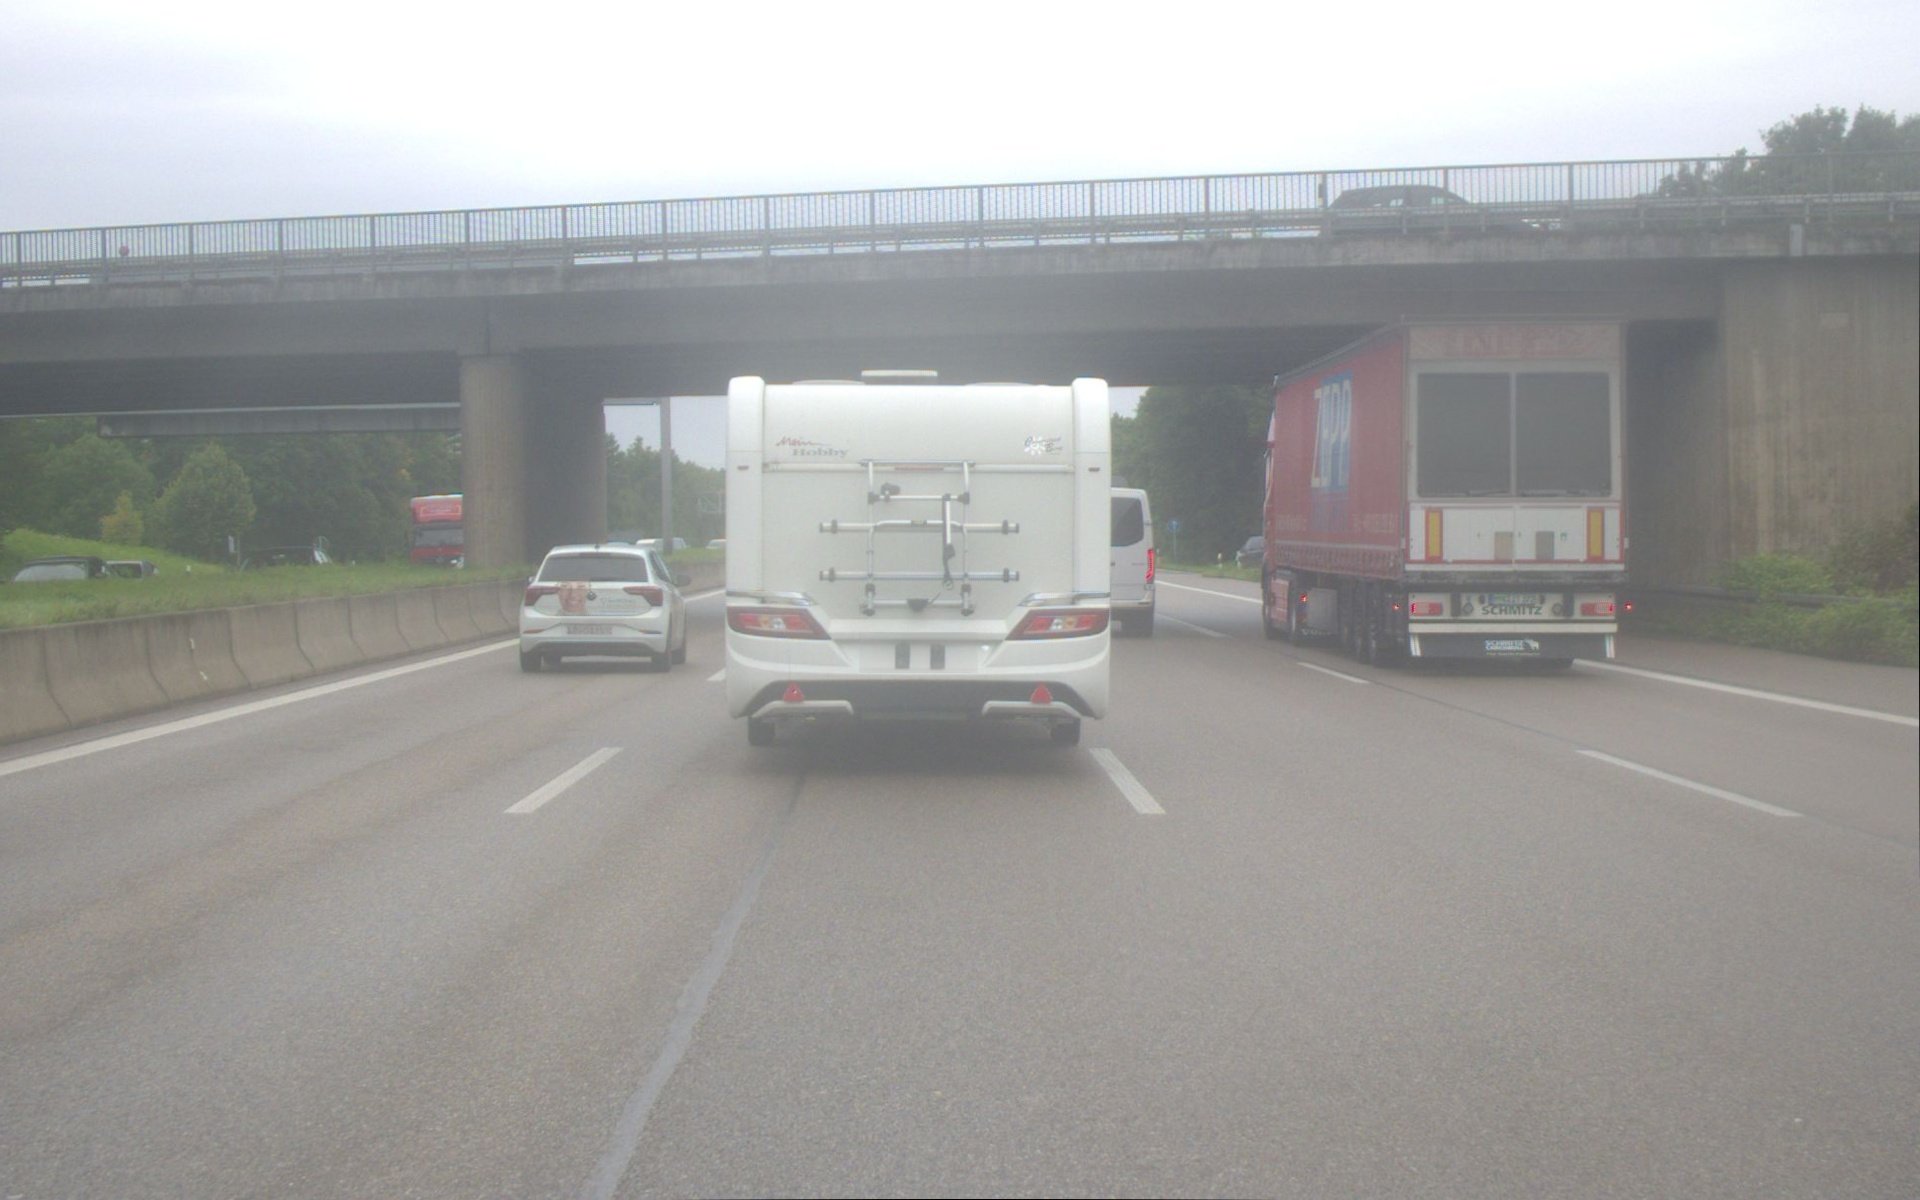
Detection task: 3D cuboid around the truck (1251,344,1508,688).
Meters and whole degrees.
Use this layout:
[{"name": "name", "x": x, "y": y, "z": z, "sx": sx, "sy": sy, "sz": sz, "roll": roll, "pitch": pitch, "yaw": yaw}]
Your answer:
[{"name": "truck", "x": 6.191, "y": -1.231, "z": 51.633, "sx": 3.048, "sy": 4.822, "sz": 5.850, "roll": 1, "pitch": 1, "yaw": 0}]

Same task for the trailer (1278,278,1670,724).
[{"name": "trailer", "x": 6.244, "y": -1.173, "z": 44.031, "sx": 3.100, "sy": 4.905, "sz": 11.791, "roll": 1, "pitch": 1, "yaw": 0}]

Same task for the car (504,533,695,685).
[{"name": "car", "x": -4.148, "y": 0.052, "z": 40.155, "sx": 1.753, "sy": 1.612, "sz": 4.664, "roll": -1, "pitch": 1, "yaw": -1}]

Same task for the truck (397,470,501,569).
[{"name": "truck", "x": -20.902, "y": -3.301, "z": 141.146, "sx": 2.693, "sy": 3.838, "sz": 10.111, "roll": -1, "pitch": 1, "yaw": 0}]

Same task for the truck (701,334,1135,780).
[{"name": "truck", "x": -0.297, "y": -0.299, "z": 23.913, "sx": 2.661, "sy": 2.733, "sz": 5.078, "roll": 1, "pitch": 1, "yaw": -1}]

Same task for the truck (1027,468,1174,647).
[{"name": "truck", "x": 2.245, "y": -0.703, "z": 56.312, "sx": 2.053, "sy": 2.760, "sz": 5.549, "roll": 1, "pitch": 1, "yaw": -1}]
